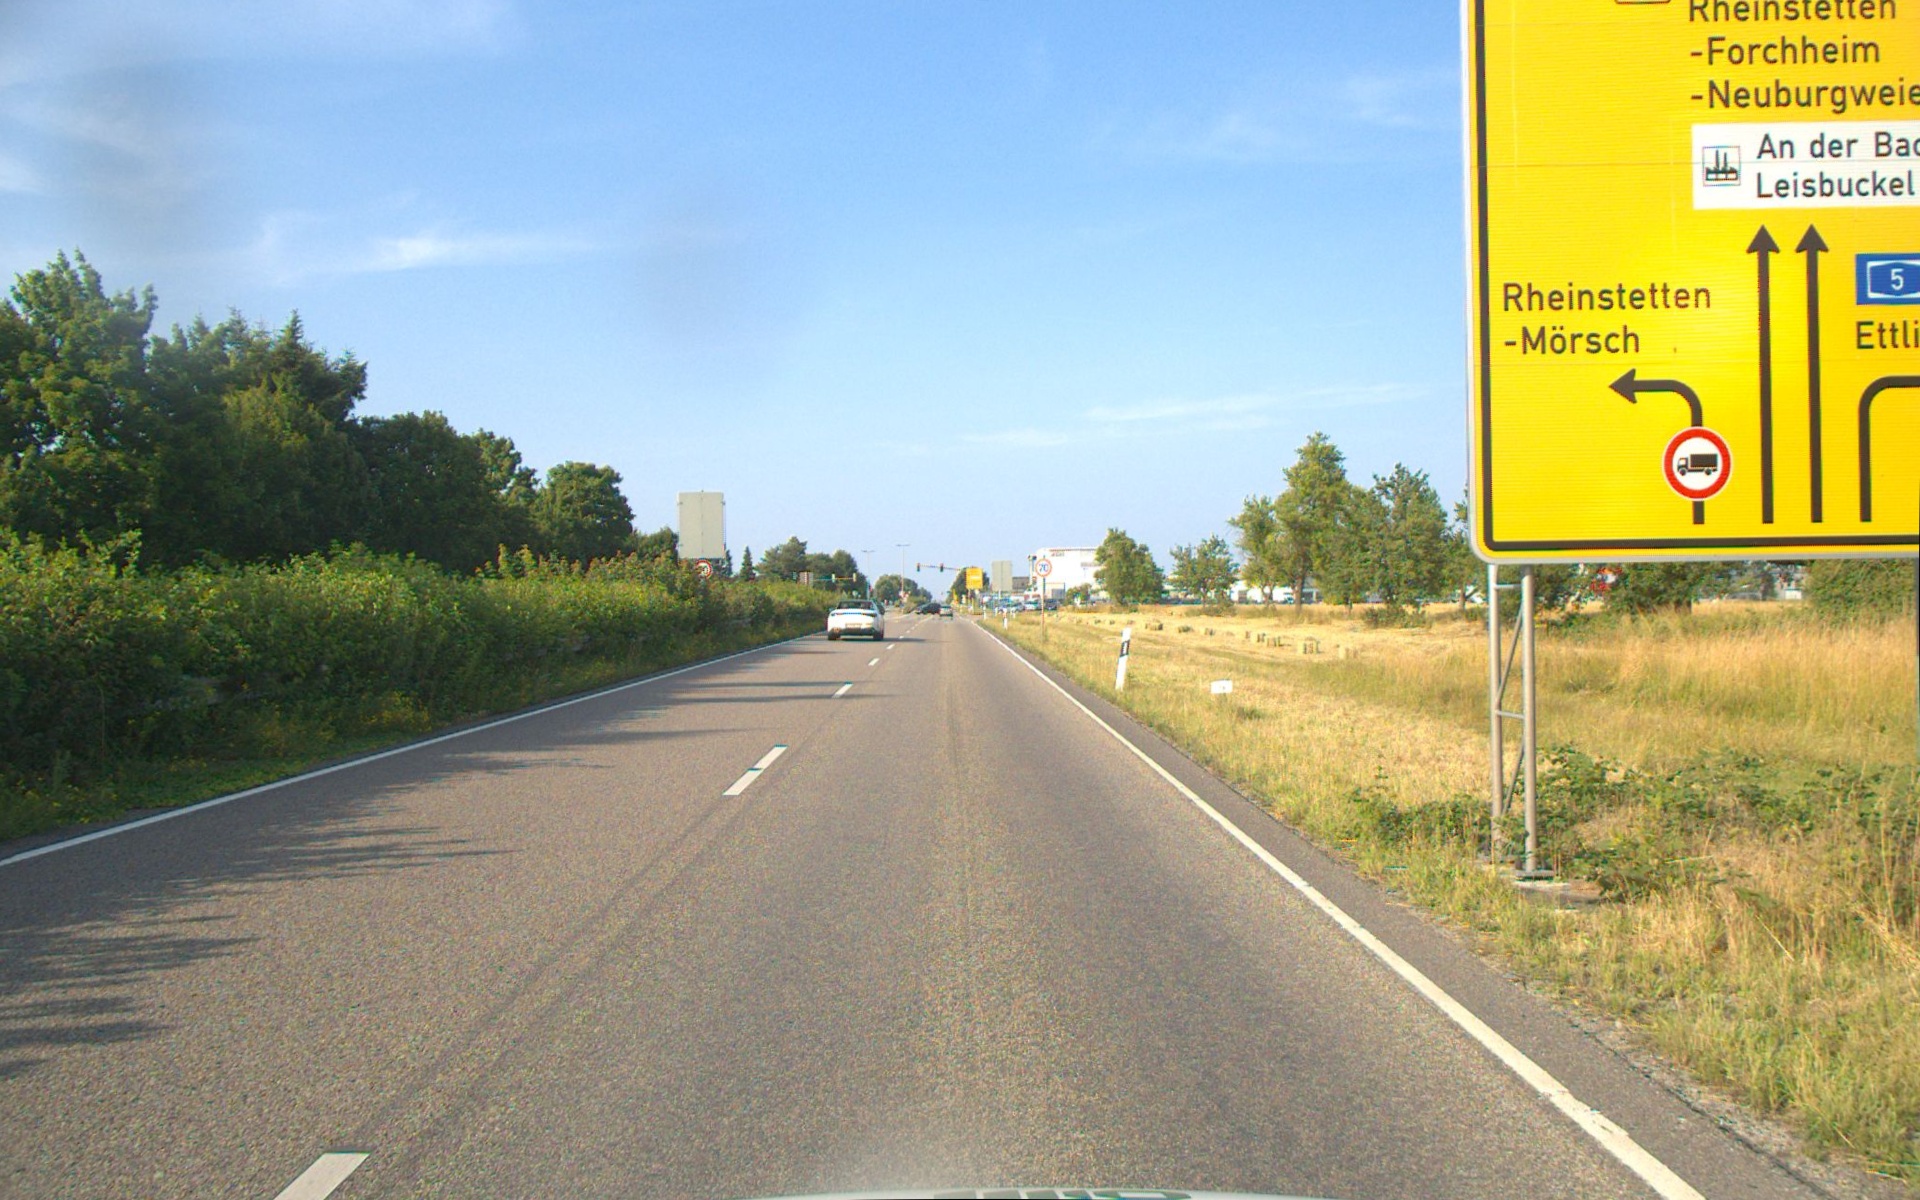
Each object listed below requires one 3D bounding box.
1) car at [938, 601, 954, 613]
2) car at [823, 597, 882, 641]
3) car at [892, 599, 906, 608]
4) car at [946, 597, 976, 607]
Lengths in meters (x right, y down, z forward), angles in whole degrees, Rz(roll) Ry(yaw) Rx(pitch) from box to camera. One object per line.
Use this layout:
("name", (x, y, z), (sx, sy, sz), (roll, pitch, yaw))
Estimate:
("car", (-1.815, 0.860, 209.807), (1.953, 1.512, 3.999), (1, 0, -1))
("car", (-3.707, 0.640, 57.497), (1.871, 1.447, 3.999), (1, 0, -1))
("car", (-9.260, 0.544, 252.264), (1.908, 1.432, 4.000), (1, 0, 0))
("car", (0.123, 0.235, 240.713), (3.929, 1.432, 1.942), (0, 0, -21))
